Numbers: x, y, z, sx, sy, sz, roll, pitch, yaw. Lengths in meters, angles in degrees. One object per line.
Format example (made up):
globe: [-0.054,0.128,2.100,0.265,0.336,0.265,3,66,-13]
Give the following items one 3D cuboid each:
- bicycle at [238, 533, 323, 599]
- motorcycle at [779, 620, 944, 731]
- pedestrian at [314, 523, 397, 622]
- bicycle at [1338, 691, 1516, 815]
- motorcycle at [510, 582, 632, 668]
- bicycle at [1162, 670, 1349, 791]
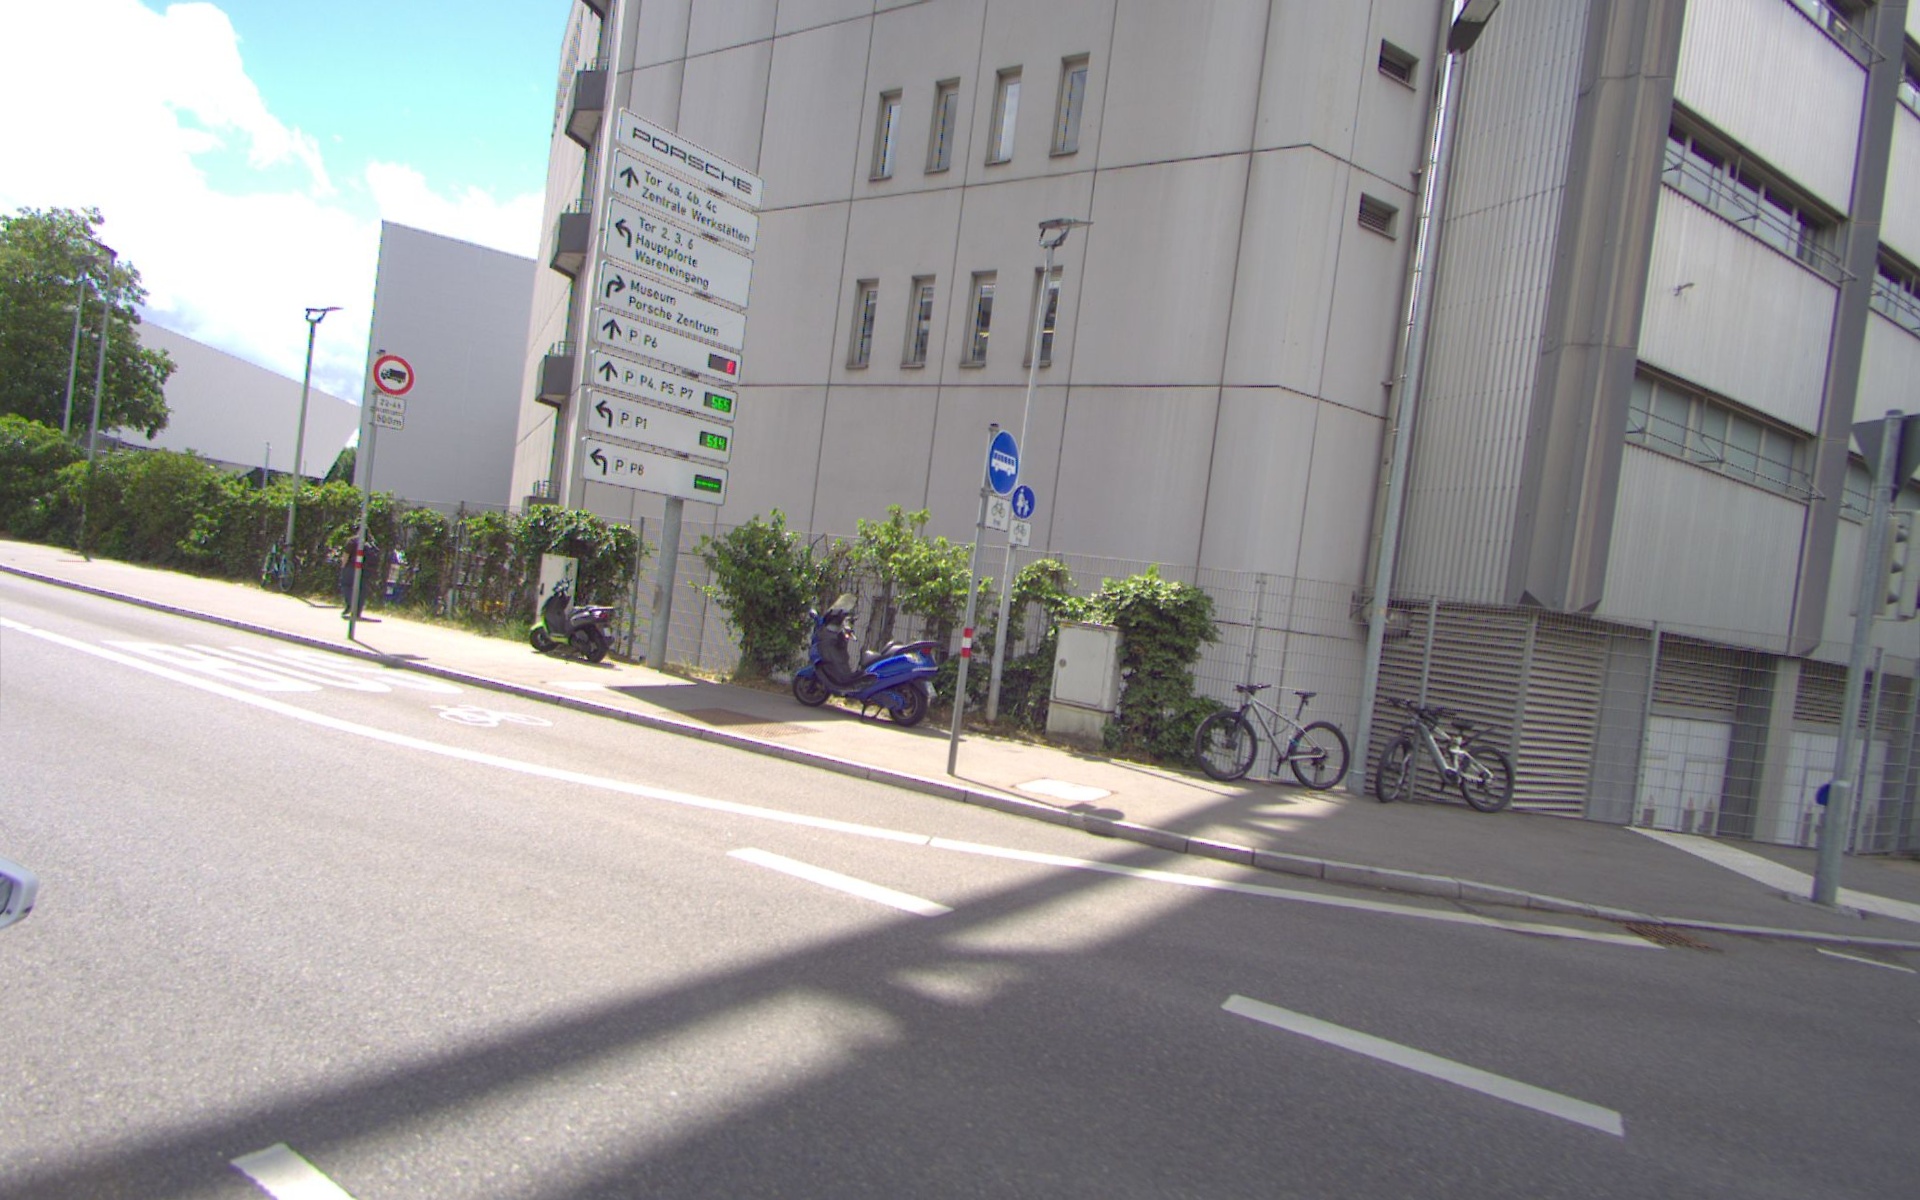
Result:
bicycle: [-14.573,-0.745,21.558,2.428,1.194,0.444,6,-1,32]
motorcycle: [-1.243,0.903,12.463,2.003,1.081,0.591,7,2,32]
pedestrian: [-10.941,-0.492,18.216,0.981,1.666,0.810,6,2,30]
bicycle: [5.063,1.666,10.881,1.862,1.142,0.542,7,1,-24]
motorcycle: [-6.012,0.375,15.489,2.003,1.081,0.591,7,1,32]
bicycle: [3.209,1.426,10.888,1.944,1.143,0.542,6,2,-24]
